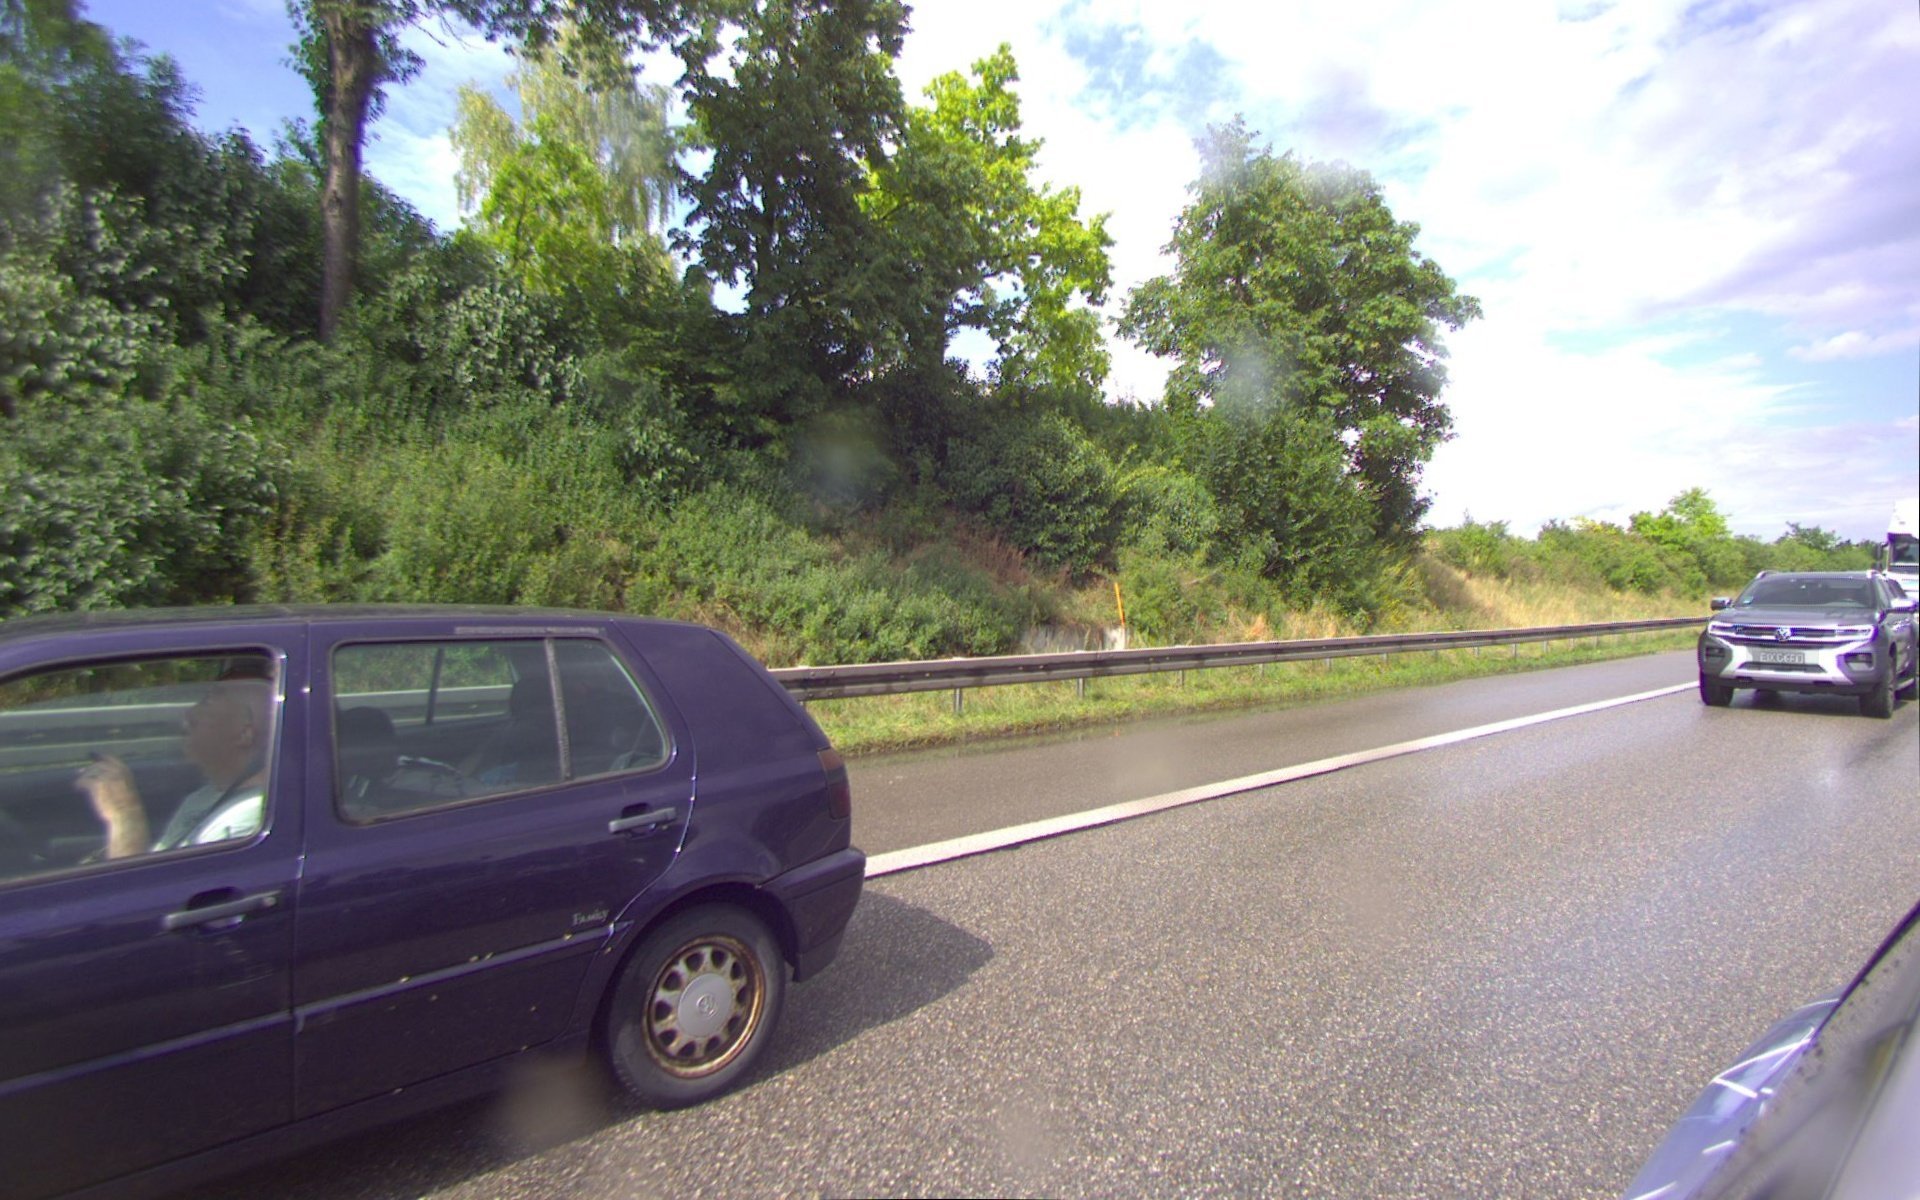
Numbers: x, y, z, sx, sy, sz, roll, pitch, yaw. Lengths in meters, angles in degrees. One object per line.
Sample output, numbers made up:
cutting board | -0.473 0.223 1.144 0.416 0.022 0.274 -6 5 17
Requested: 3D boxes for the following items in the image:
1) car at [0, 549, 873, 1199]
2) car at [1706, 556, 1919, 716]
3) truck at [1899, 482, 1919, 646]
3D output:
car | -2.178 0.630 2.557 3.681 1.474 1.653 -1 1 -43
car | 12.111 0.376 13.986 5.213 1.826 1.830 0 1 -41
truck | 26.789 -0.908 26.708 5.240 4.155 2.458 0 0 -41
